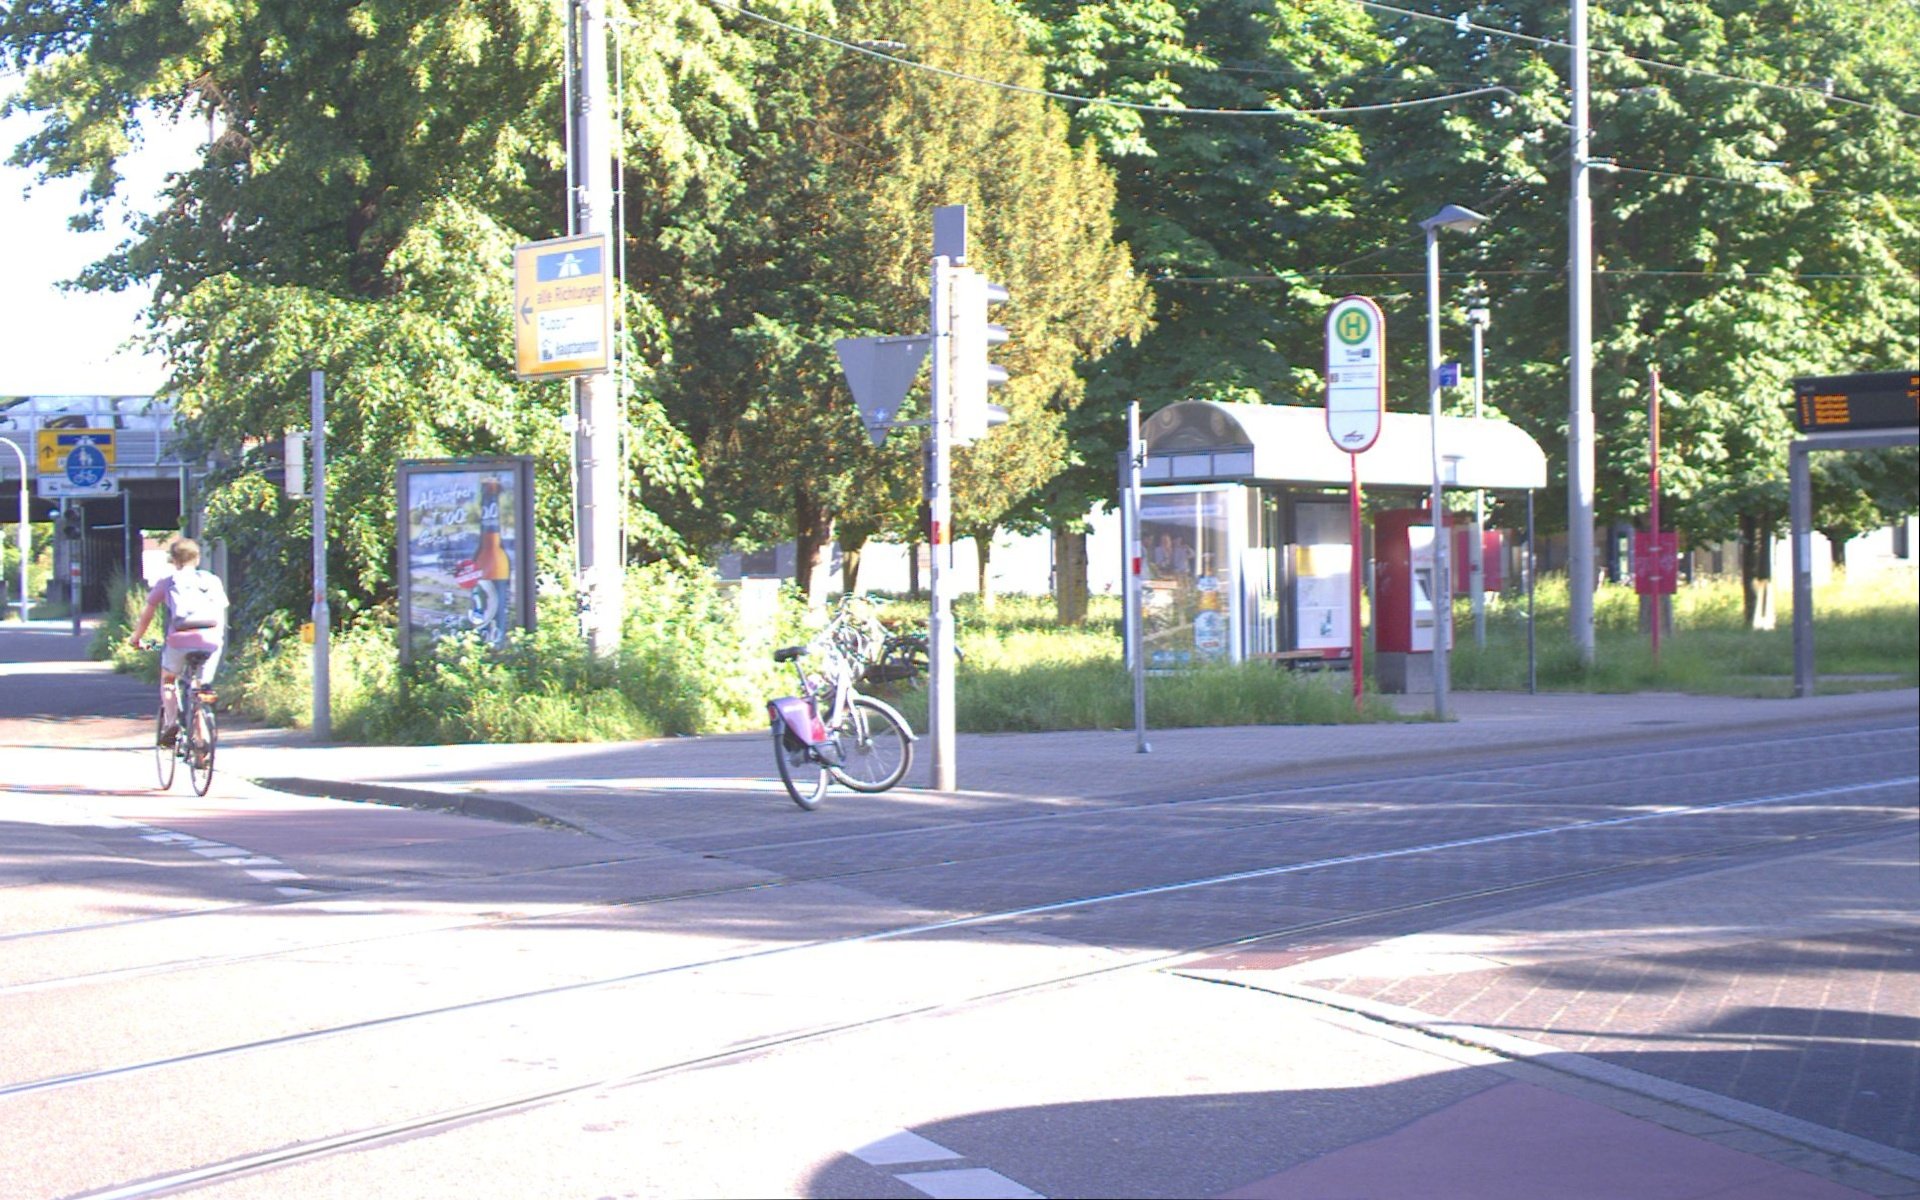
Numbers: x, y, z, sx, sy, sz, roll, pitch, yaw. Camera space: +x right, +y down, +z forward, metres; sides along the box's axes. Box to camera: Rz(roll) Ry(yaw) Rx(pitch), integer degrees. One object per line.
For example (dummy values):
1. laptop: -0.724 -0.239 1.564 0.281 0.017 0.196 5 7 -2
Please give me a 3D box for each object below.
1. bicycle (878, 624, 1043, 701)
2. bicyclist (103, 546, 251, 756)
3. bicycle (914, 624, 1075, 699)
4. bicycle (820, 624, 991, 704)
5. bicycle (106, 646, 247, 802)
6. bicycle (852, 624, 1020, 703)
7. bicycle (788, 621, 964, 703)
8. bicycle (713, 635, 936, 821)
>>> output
1. bicycle: 0.006 0.754 41.809 1.879 0.903 0.659 0 1 21
2. bicyclist: -5.807 0.359 25.449 0.840 1.505 1.369 -1 1 -22
3. bicycle: 0.424 0.758 42.616 1.879 0.903 0.659 0 1 21
4. bicycle: -0.635 0.747 40.072 1.879 0.903 0.659 0 1 21
5. bicycle: -5.826 0.893 25.487 0.667 1.056 2.082 -1 1 -22
6. bicycle: -0.288 0.751 40.882 1.879 0.903 0.659 0 1 21
7. bicycle: -0.957 0.699 39.138 1.879 0.903 0.659 0 1 21
8. bicycle: -0.814 0.768 21.367 0.826 1.056 1.881 0 1 16
